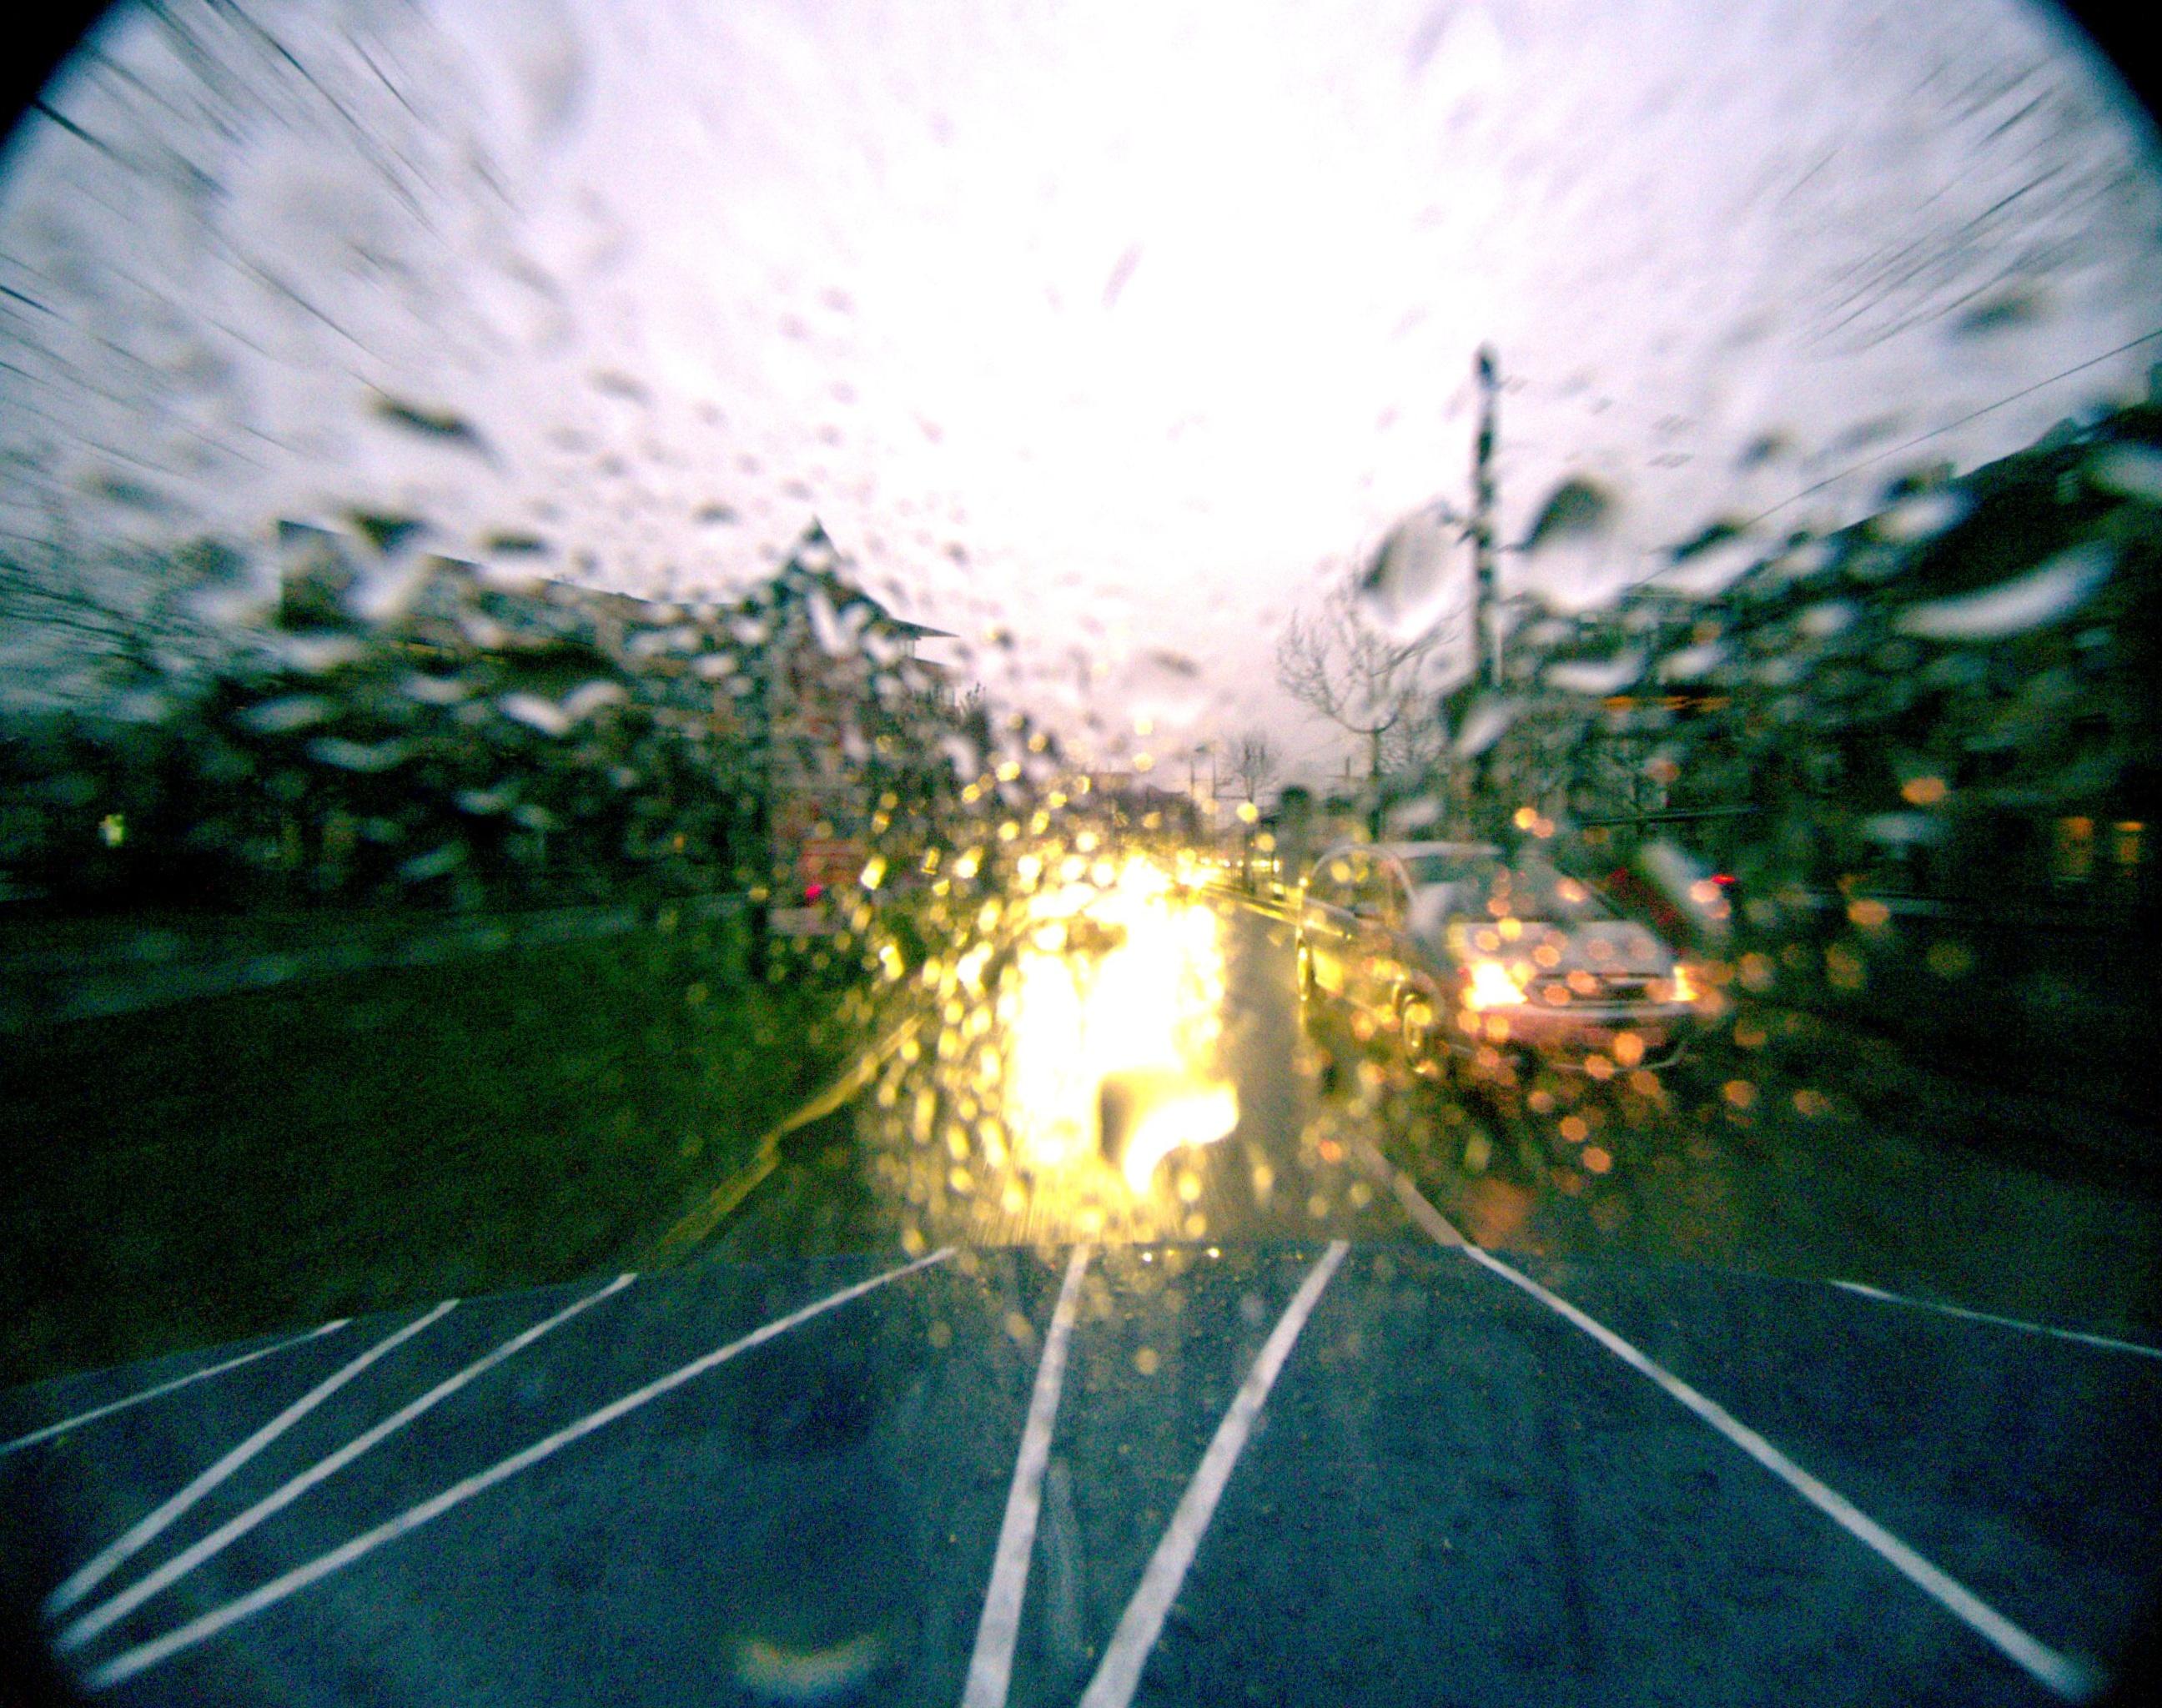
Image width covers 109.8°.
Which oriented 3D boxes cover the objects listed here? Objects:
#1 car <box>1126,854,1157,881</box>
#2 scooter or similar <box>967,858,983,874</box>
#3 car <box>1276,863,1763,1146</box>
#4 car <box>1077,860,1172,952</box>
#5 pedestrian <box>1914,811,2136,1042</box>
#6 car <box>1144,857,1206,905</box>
[{"bbox_3d":[4.163,0.893,51.590,1.818,1.732,4.189,1,0,8],"label":"car"},{"bbox_3d":[-7.811,0.878,56.071,1.146,1.224,0.487,1,0,-15],"label":"scooter or similar"},{"bbox_3d":[2.972,0.861,6.287,1.649,1.539,4.109,0,0,0],"label":"car"},{"bbox_3d":[0.810,0.922,15.165,1.649,1.575,3.805,0,0,2],"label":"car"},{"bbox_3d":[6.952,0.502,5.640,0.712,1.597,0.747,-1,1,0],"label":"pedestrian"},{"bbox_3d":[3.271,0.894,26.996,1.753,1.535,4.000,1,0,1],"label":"car"}]
